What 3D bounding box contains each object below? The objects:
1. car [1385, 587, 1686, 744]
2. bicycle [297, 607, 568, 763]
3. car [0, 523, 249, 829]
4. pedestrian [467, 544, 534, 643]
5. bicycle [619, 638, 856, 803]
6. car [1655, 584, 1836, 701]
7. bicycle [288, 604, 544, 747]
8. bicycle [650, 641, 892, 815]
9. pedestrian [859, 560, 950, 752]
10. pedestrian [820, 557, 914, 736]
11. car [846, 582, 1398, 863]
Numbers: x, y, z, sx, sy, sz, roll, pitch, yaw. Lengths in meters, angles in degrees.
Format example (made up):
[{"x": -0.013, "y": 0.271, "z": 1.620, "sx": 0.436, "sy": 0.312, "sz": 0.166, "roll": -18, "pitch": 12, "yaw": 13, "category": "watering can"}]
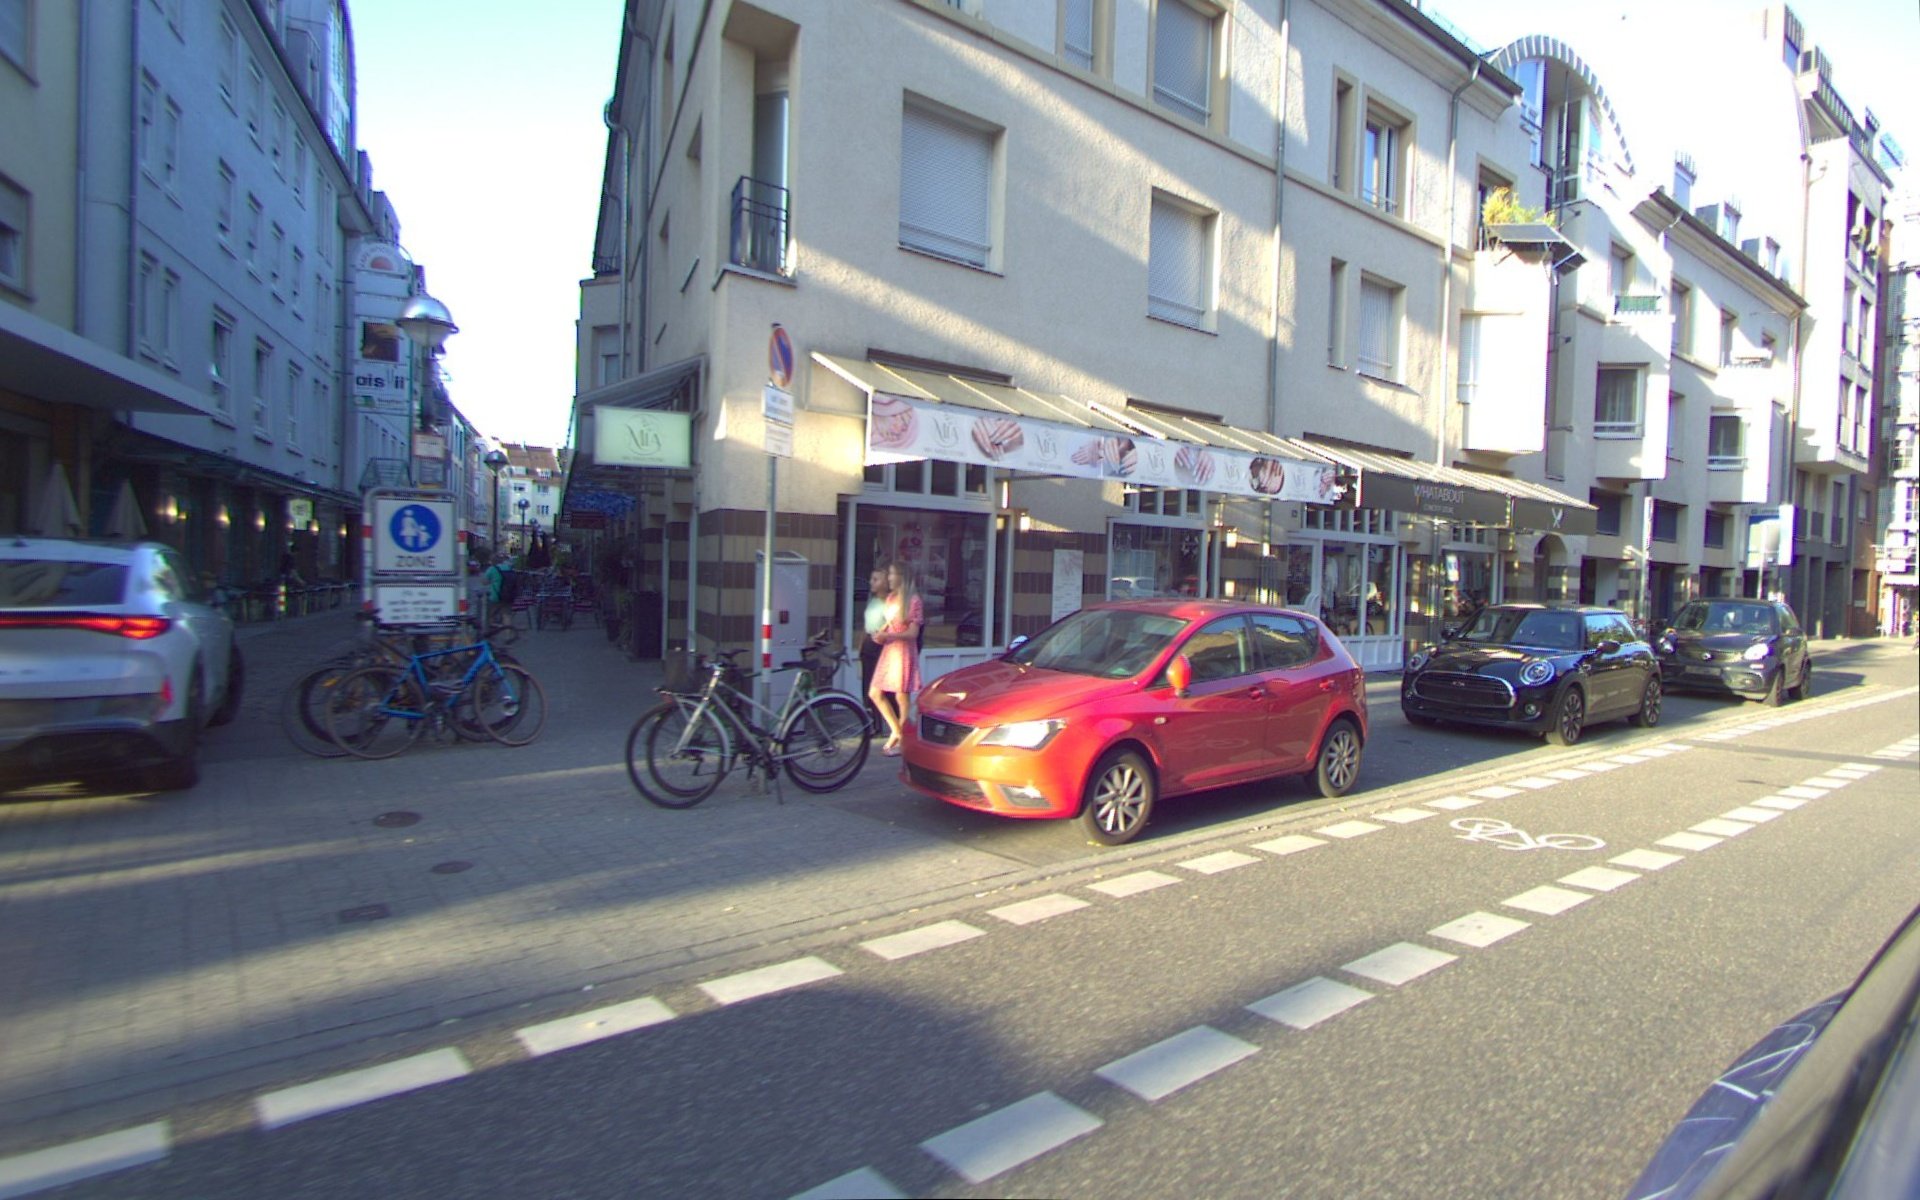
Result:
[{"x": 6.672, "y": 0.630, "z": 11.619, "sx": 3.681, "sy": 1.438, "sz": 1.727, "roll": 0, "pitch": 3, "yaw": -39, "category": "car"}, {"x": -4.022, "y": 0.599, "z": 7.833, "sx": 1.812, "sy": 1.063, "sz": 0.391, "roll": 0, "pitch": 2, "yaw": -41, "category": "bicycle"}, {"x": -6.306, "y": 0.293, "z": 7.154, "sx": 1.820, "sy": 1.631, "sz": 4.189, "roll": 0, "pitch": 3, "yaw": -32, "category": "car"}, {"x": -8.084, "y": -0.131, "z": 17.790, "sx": 0.912, "sy": 1.665, "sz": 0.748, "roll": 3, "pitch": 2, "yaw": 40, "category": "pedestrian"}, {"x": -1.504, "y": 0.786, "z": 7.044, "sx": 1.611, "sy": 0.968, "sz": 0.391, "roll": 0, "pitch": 2, "yaw": -41, "category": "bicycle"}, {"x": 12.228, "y": 0.591, "z": 15.729, "sx": 2.752, "sy": 1.568, "sz": 1.572, "roll": 0, "pitch": 3, "yaw": -39, "category": "car"}, {"x": -4.441, "y": 0.571, "z": 8.366, "sx": 1.812, "sy": 1.046, "sz": 0.391, "roll": 0, "pitch": 2, "yaw": -41, "category": "bicycle"}, {"x": -1.209, "y": 0.791, "z": 6.713, "sx": 1.587, "sy": 0.968, "sz": 0.391, "roll": 0, "pitch": 2, "yaw": -41, "category": "bicycle"}, {"x": -0.476, "y": 0.447, "z": 8.578, "sx": 0.543, "sy": 1.549, "sz": 0.542, "roll": 1, "pitch": 2, "yaw": -32, "category": "pedestrian"}, {"x": -0.842, "y": 0.394, "z": 9.133, "sx": 0.638, "sy": 1.549, "sz": 0.542, "roll": 1, "pitch": 2, "yaw": -33, "category": "pedestrian"}, {"x": 1.328, "y": 0.651, "z": 7.363, "sx": 3.959, "sy": 1.438, "sz": 1.727, "roll": 0, "pitch": 3, "yaw": -39, "category": "car"}]
